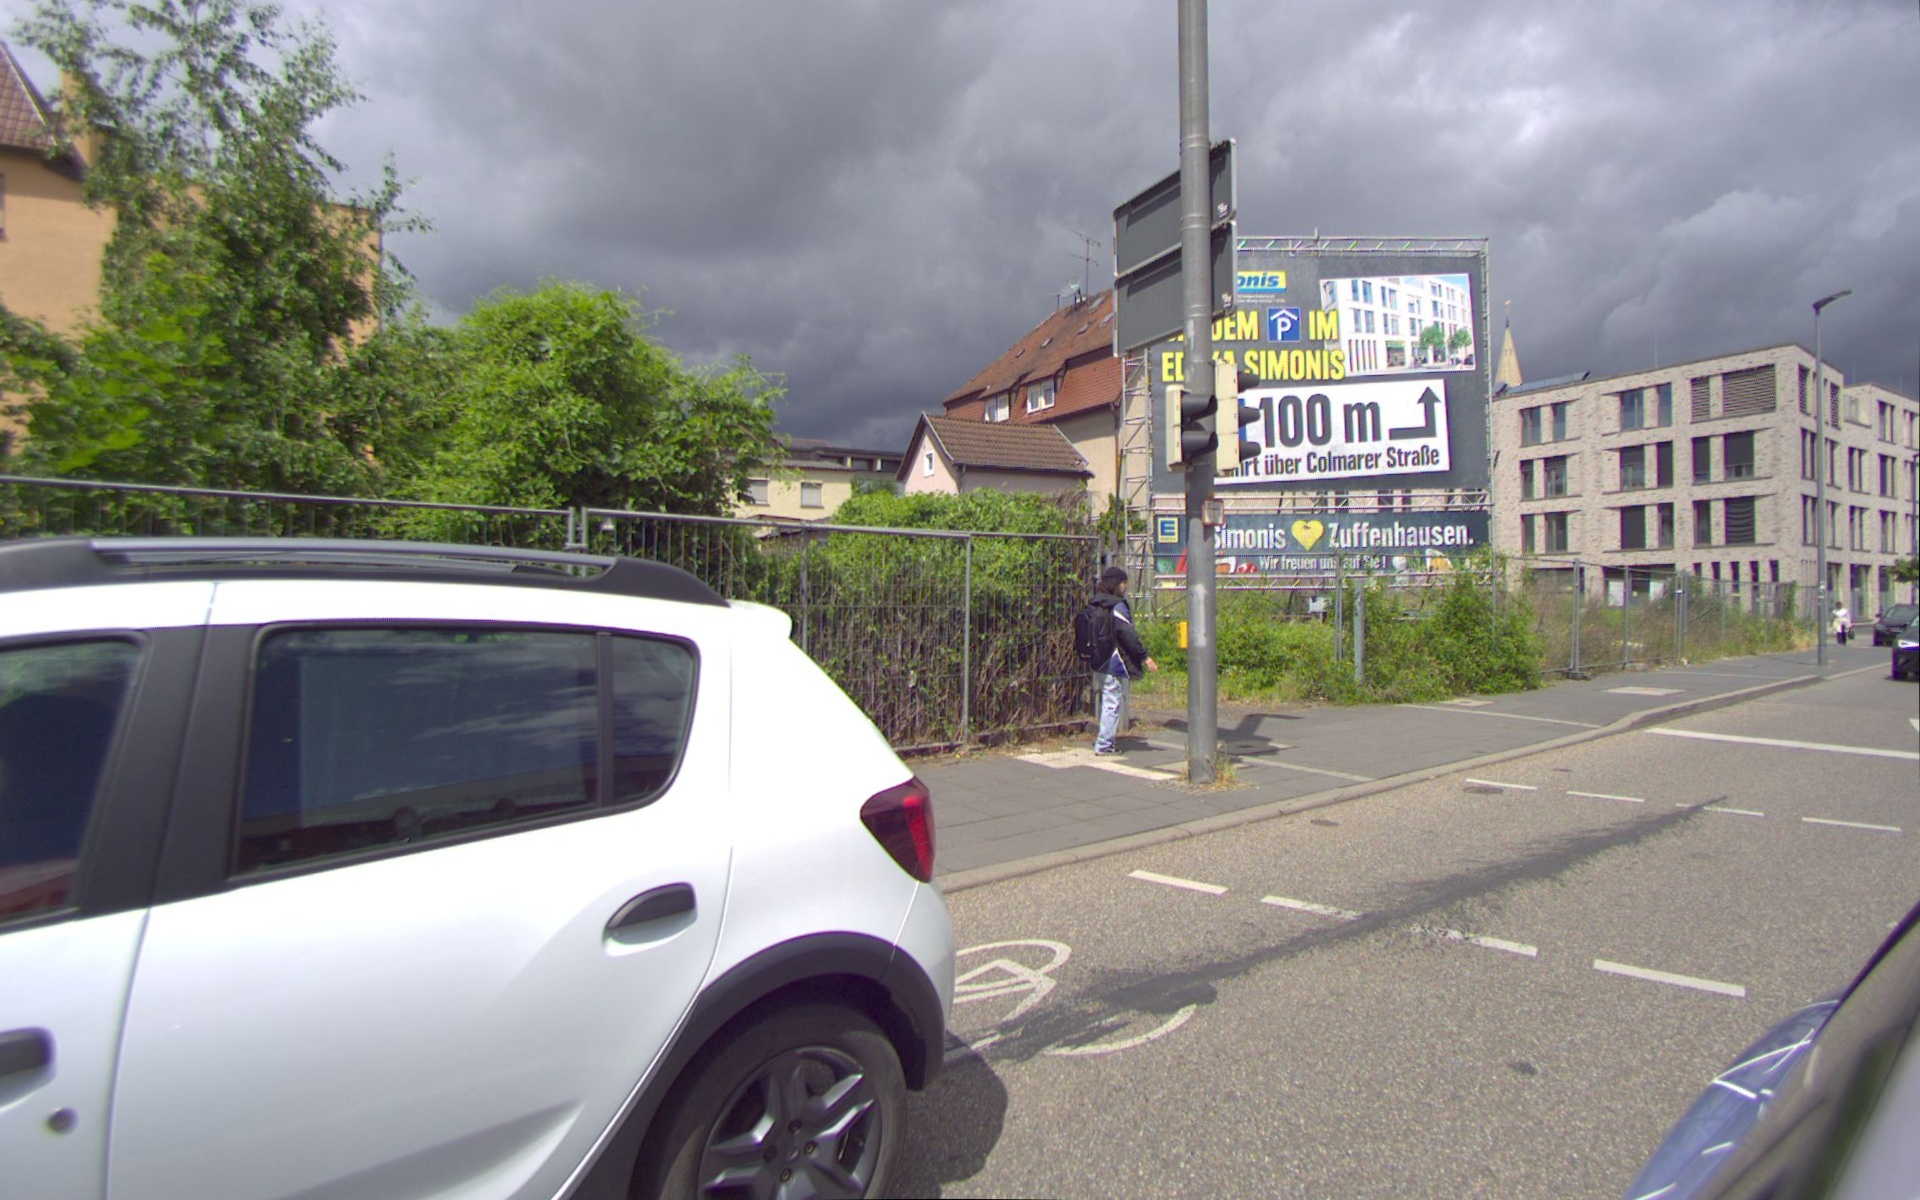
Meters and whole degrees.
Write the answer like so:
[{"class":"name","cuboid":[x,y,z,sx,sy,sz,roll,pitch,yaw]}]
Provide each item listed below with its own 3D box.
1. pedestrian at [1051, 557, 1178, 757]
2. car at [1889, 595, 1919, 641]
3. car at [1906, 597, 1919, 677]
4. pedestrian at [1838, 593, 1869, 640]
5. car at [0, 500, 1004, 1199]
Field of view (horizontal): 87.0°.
[{"class":"pedestrian","cuboid":[1.354,0.474,8.944,0.762,1.663,0.768,2,0,-29]},{"class":"car","cuboid":[32.734,0.601,34.016,3.726,1.441,1.678,-1,2,-39]},{"class":"car","cuboid":[19.400,0.664,19.154,3.726,1.451,1.678,-1,1,-39]},{"class":"pedestrian","cuboid":[29.955,0.539,33.936,0.769,1.531,0.673,1,0,-41]},{"class":"car","cuboid":[-1.894,0.630,1.952,3.723,1.569,1.719,0,1,-38]}]
